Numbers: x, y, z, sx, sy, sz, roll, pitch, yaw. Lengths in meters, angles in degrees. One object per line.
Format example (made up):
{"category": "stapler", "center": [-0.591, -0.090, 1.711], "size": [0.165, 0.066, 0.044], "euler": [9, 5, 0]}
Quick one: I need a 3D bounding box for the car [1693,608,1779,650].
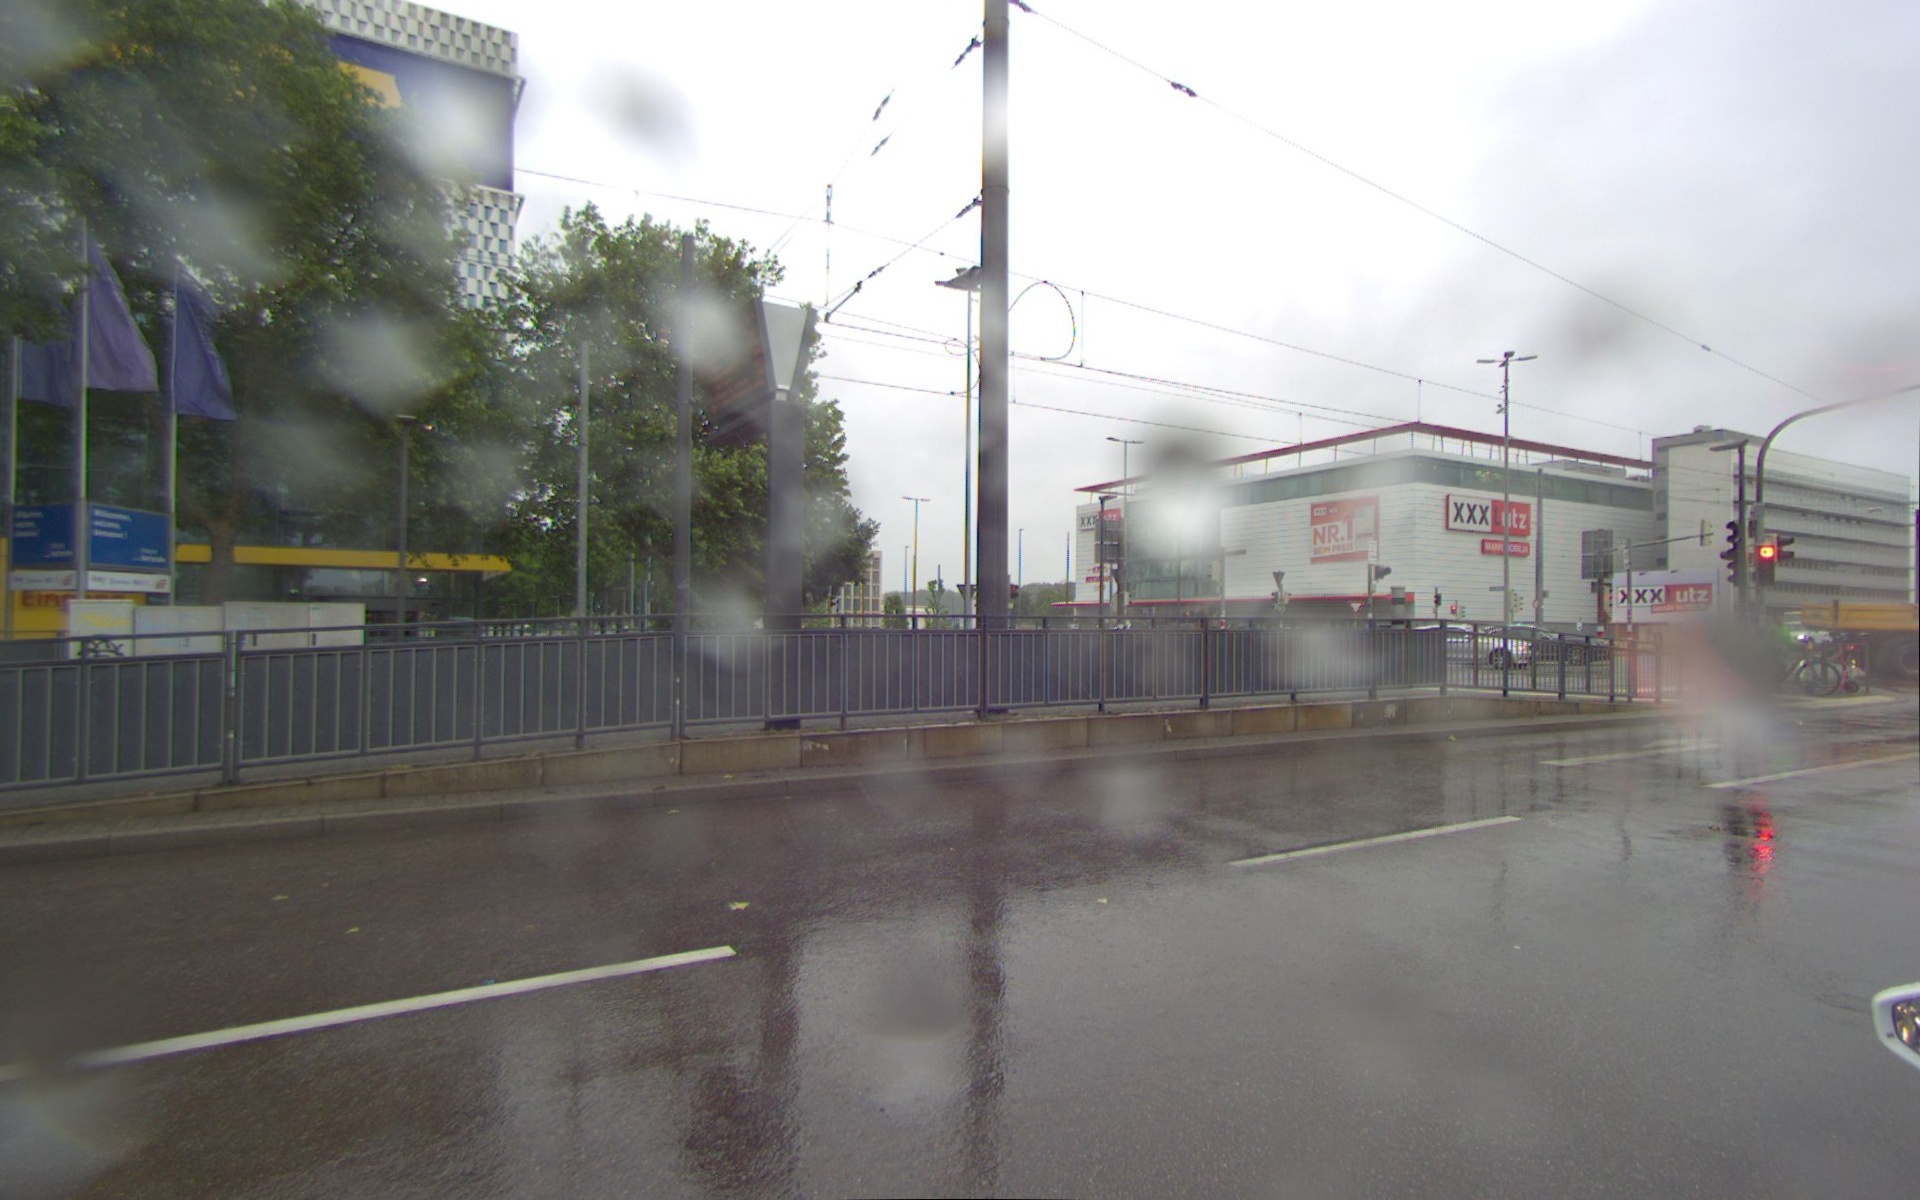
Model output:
{"category": "car", "center": [40.396, 1.528, 52.294], "size": [3.947, 2.040, 1.987], "euler": [2, 0, -26]}

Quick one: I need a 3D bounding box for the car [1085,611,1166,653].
{"category": "car", "center": [8.654, 1.639, 52.851], "size": [1.976, 2.040, 4.295], "euler": [2, 0, -29]}

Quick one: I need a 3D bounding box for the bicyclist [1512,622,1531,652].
{"category": "bicyclist", "center": [26.826, 1.759, 47.985], "size": [0.643, 1.418, 0.529], "euler": [2, 0, -33]}

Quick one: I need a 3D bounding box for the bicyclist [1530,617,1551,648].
{"category": "bicyclist", "center": [28.921, 1.622, 50.052], "size": [0.639, 1.483, 0.681], "euler": [2, 0, -29]}

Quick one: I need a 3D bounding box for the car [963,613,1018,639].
{"category": "car", "center": [2.165, 1.819, 70.210], "size": [3.723, 1.645, 2.001], "euler": [2, 0, 2]}

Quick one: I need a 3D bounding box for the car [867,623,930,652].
{"category": "car", "center": [-4.211, 2.535, 68.489], "size": [4.161, 1.656, 1.987], "euler": [3, 2, 45]}

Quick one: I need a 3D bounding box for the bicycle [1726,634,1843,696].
{"category": "bicycle", "center": [16.723, 1.304, 20.427], "size": [0.409, 1.048, 1.742], "euler": [2, 3, -31]}

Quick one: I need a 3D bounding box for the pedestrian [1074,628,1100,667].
{"category": "pedestrian", "center": [5.171, 1.918, 40.952], "size": [0.863, 1.557, 0.560], "euler": [2, 0, -31]}

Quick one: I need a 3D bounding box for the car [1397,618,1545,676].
{"category": "car", "center": [16.673, 1.490, 32.900], "size": [4.025, 1.682, 1.610], "euler": [1, 0, 45]}

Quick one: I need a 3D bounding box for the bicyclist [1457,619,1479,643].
{"category": "bicyclist", "center": [24.923, 1.526, 49.303], "size": [0.639, 1.149, 0.681], "euler": [2, 0, -29]}

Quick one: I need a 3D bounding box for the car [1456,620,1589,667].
{"category": "car", "center": [19.689, 1.485, 35.225], "size": [1.827, 1.429, 3.695], "euler": [2, 0, -43]}

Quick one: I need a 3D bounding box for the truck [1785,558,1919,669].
{"category": "truck", "center": [26.514, 0.403, 26.348], "size": [7.010, 2.854, 2.639], "euler": [1, 0, 26]}

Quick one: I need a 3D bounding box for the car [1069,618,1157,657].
{"category": "car", "center": [7.337, 1.775, 48.331], "size": [1.980, 1.711, 3.960], "euler": [2, 0, -35]}

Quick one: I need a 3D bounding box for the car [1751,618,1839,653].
{"category": "car", "center": [39.600, 1.687, 47.643], "size": [3.823, 1.512, 1.693], "euler": [2, 0, -25]}
